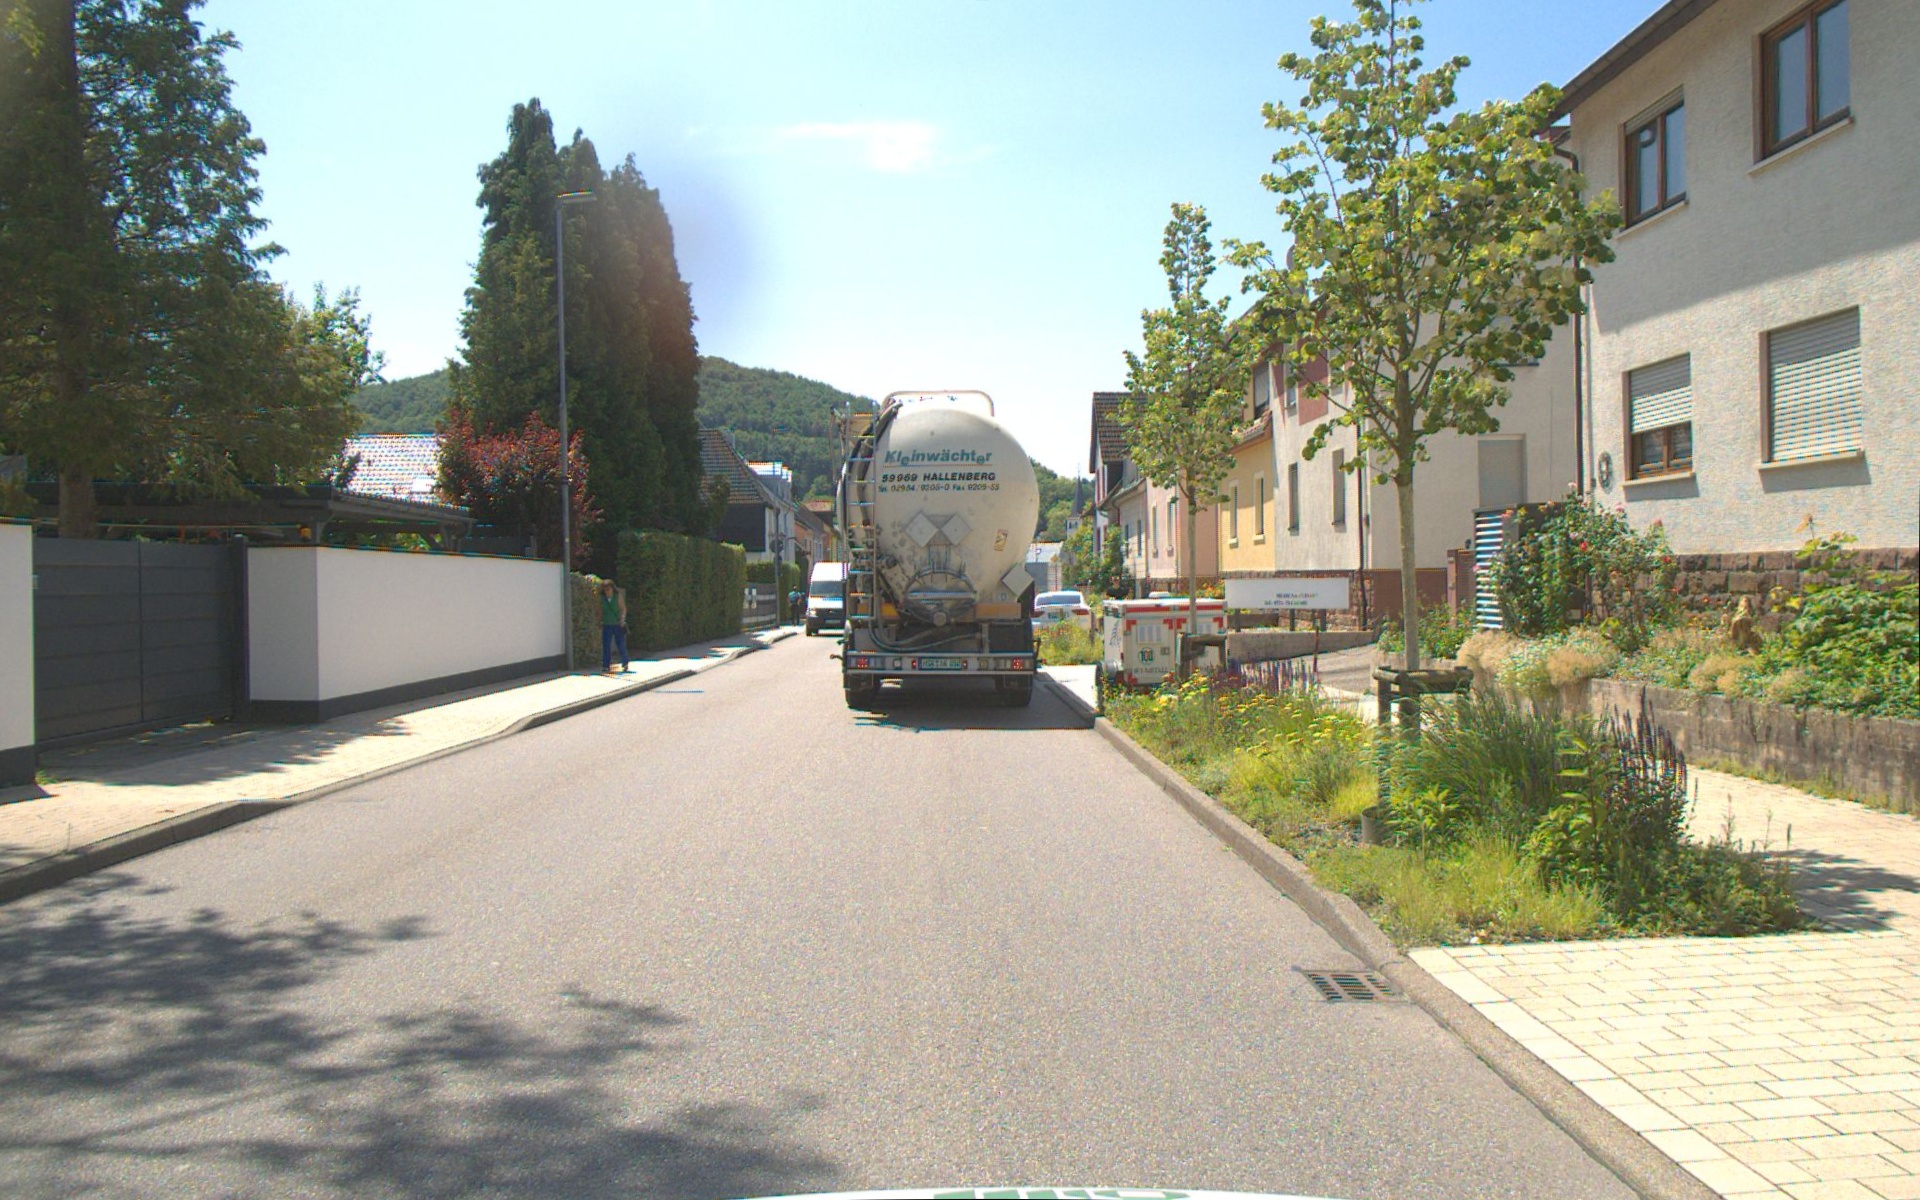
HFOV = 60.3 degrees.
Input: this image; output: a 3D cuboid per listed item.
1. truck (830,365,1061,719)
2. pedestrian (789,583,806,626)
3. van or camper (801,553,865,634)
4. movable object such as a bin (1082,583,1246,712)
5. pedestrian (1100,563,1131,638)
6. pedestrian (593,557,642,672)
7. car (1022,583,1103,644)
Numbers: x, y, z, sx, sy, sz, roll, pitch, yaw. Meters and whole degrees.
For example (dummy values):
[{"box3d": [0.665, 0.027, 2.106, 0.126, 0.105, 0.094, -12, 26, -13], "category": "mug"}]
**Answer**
[{"box3d": [-0.316, -0.695, 24.755, 2.694, 4.128, 10.885, 0, 0, -2], "category": "truck"}, {"box3d": [-7.174, 0.213, 72.860, 0.698, 1.855, 0.897, 1, -1, -5], "category": "pedestrian"}, {"box3d": [-4.573, -0.183, 60.191, 1.996, 2.761, 5.822, 1, -1, -2], "category": "van or camper"}, {"box3d": [2.465, 0.565, 20.564, 1.540, 1.441, 3.040, -1, -1, -2], "category": "movable object such as a bin"}, {"box3d": [4.270, 0.024, 45.555, 0.731, 2.049, 1.033, 1, -1, 0], "category": "pedestrian"}, {"box3d": [-6.175, 0.262, 29.816, 0.706, 2.049, 0.804, 1, -1, -2], "category": "pedestrian"}, {"box3d": [2.670, 0.389, 43.994, 1.721, 1.442, 4.631, -3, -1, -1], "category": "car"}]
